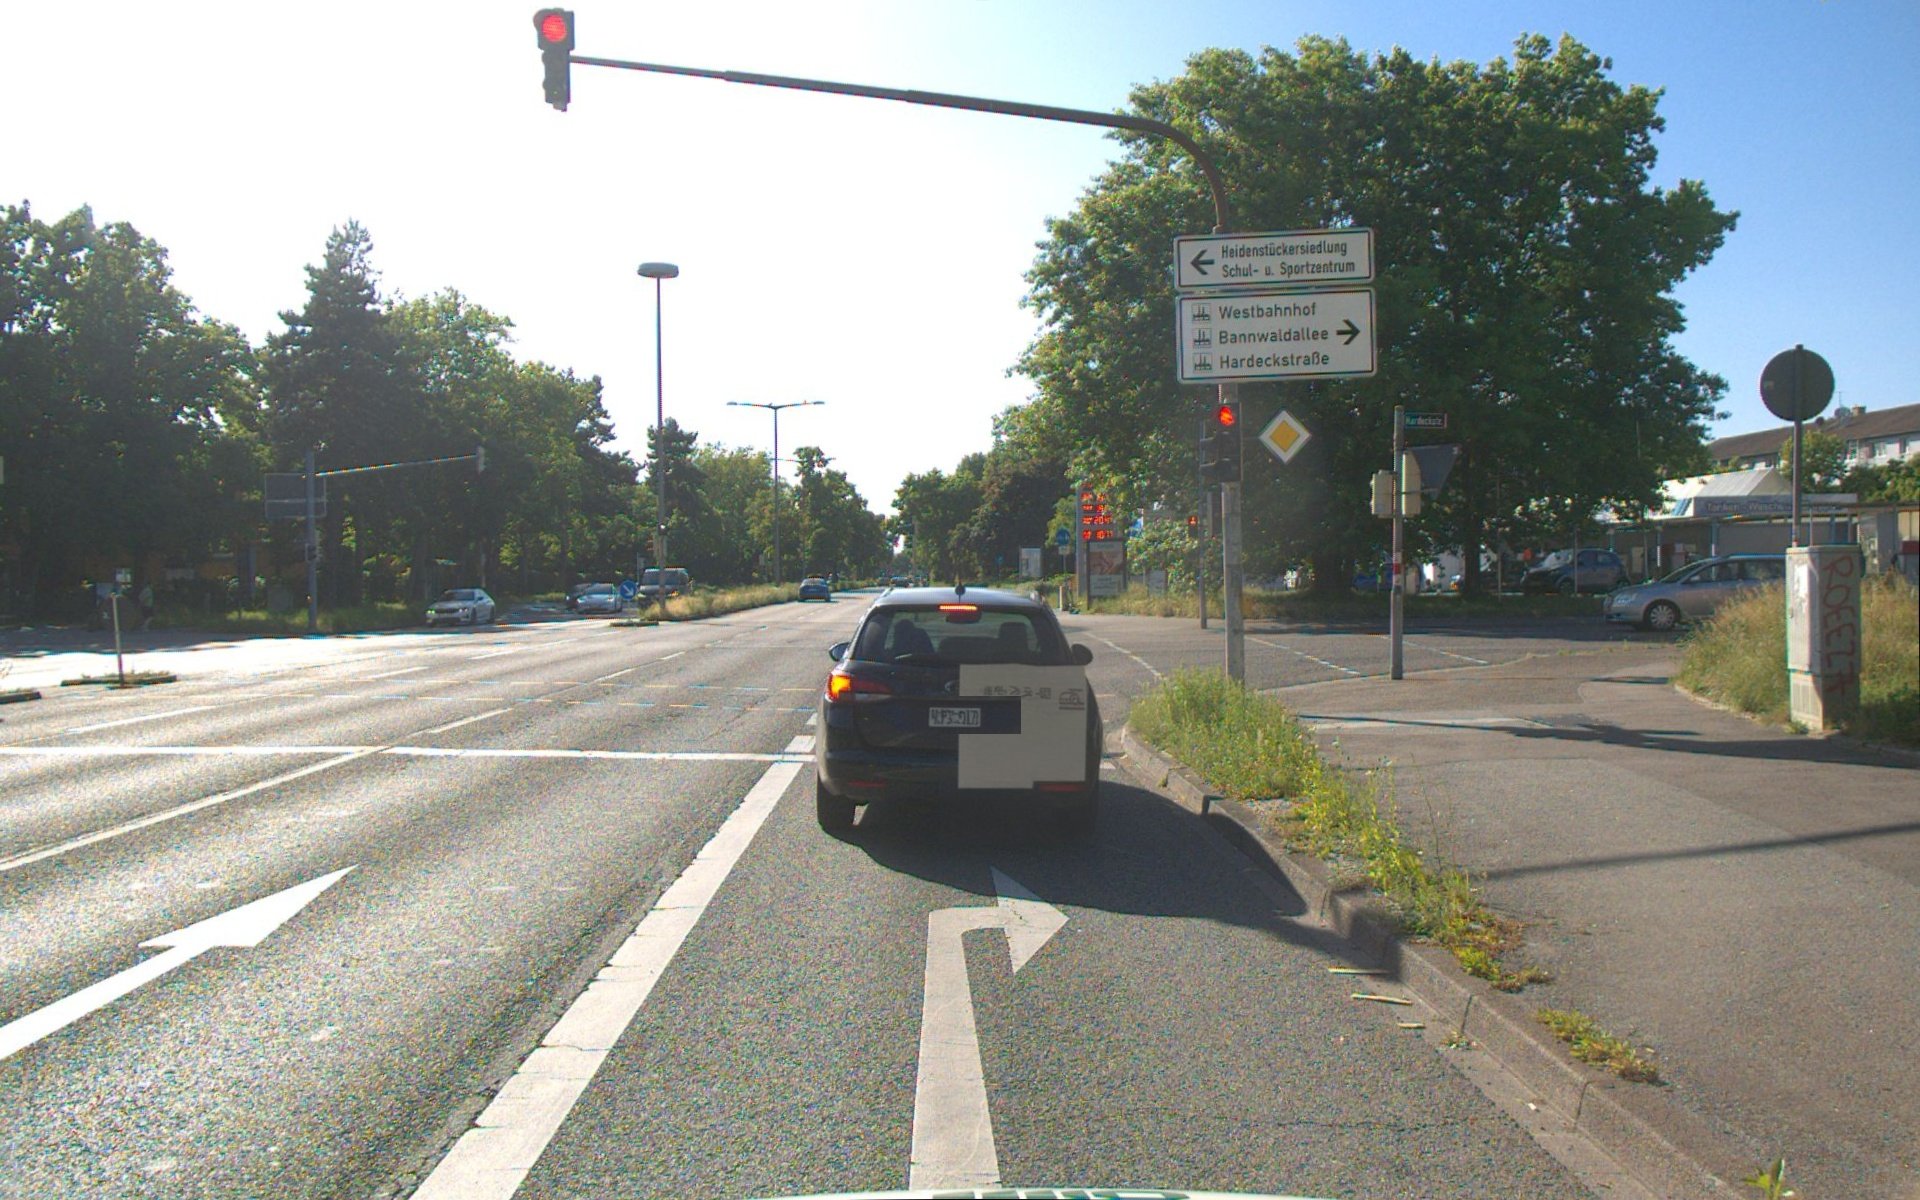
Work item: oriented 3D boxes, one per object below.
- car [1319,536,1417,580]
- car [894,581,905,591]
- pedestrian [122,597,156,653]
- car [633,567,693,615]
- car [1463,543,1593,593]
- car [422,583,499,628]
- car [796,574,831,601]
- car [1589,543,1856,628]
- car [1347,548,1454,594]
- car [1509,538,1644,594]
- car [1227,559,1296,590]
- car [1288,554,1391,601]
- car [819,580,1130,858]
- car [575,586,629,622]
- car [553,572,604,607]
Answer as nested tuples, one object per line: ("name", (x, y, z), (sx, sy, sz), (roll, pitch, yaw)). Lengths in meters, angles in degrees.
("car", (17.166, -1.762, 69.704), (3.638, 1.714, 1.703), (1, 0, -4))
("car", (-9.400, -2.167, 257.892), (1.697, 1.612, 3.839), (1, 0, -2))
("pedestrian", (-27.870, 0.840, 56.126), (0.828, 1.867, 0.550), (-1, 0, 3))
("car", (-13.194, -0.382, 73.669), (1.953, 2.049, 3.999), (1, 0, -1))
("car", (18.725, -1.046, 54.507), (3.780, 1.508, 1.794), (1, 0, -21))
("car", (-19.963, 0.220, 66.250), (1.826, 1.713, 4.259), (1, 0, -1))
("car", (-8.959, -0.759, 101.150), (1.850, 1.579, 3.999), (-1, 0, -1))
("car", (15.310, -0.270, 33.469), (4.519, 1.601, 2.002), (-1, 0, 10))
("car", (16.386, -1.053, 61.443), (3.801, 1.590, 1.784), (1, 0, -33))
("car", (19.597, -1.053, 52.568), (3.780, 1.640, 1.794), (1, 0, -21))
("car", (17.585, -1.481, 96.640), (3.638, 1.714, 1.703), (1, 0, -4))
("car", (14.639, -0.849, 63.813), (3.668, 1.714, 1.689), (1, 0, -28))
("car", (0.042, 0.652, 11.056), (1.720, 1.535, 3.807), (0, 0, -1))
("car", (-17.500, 0.182, 81.024), (1.826, 1.713, 3.999), (1, 0, -1))
("car", (-21.493, -0.614, 93.345), (1.953, 1.780, 4.000), (-3, 1, -1))
